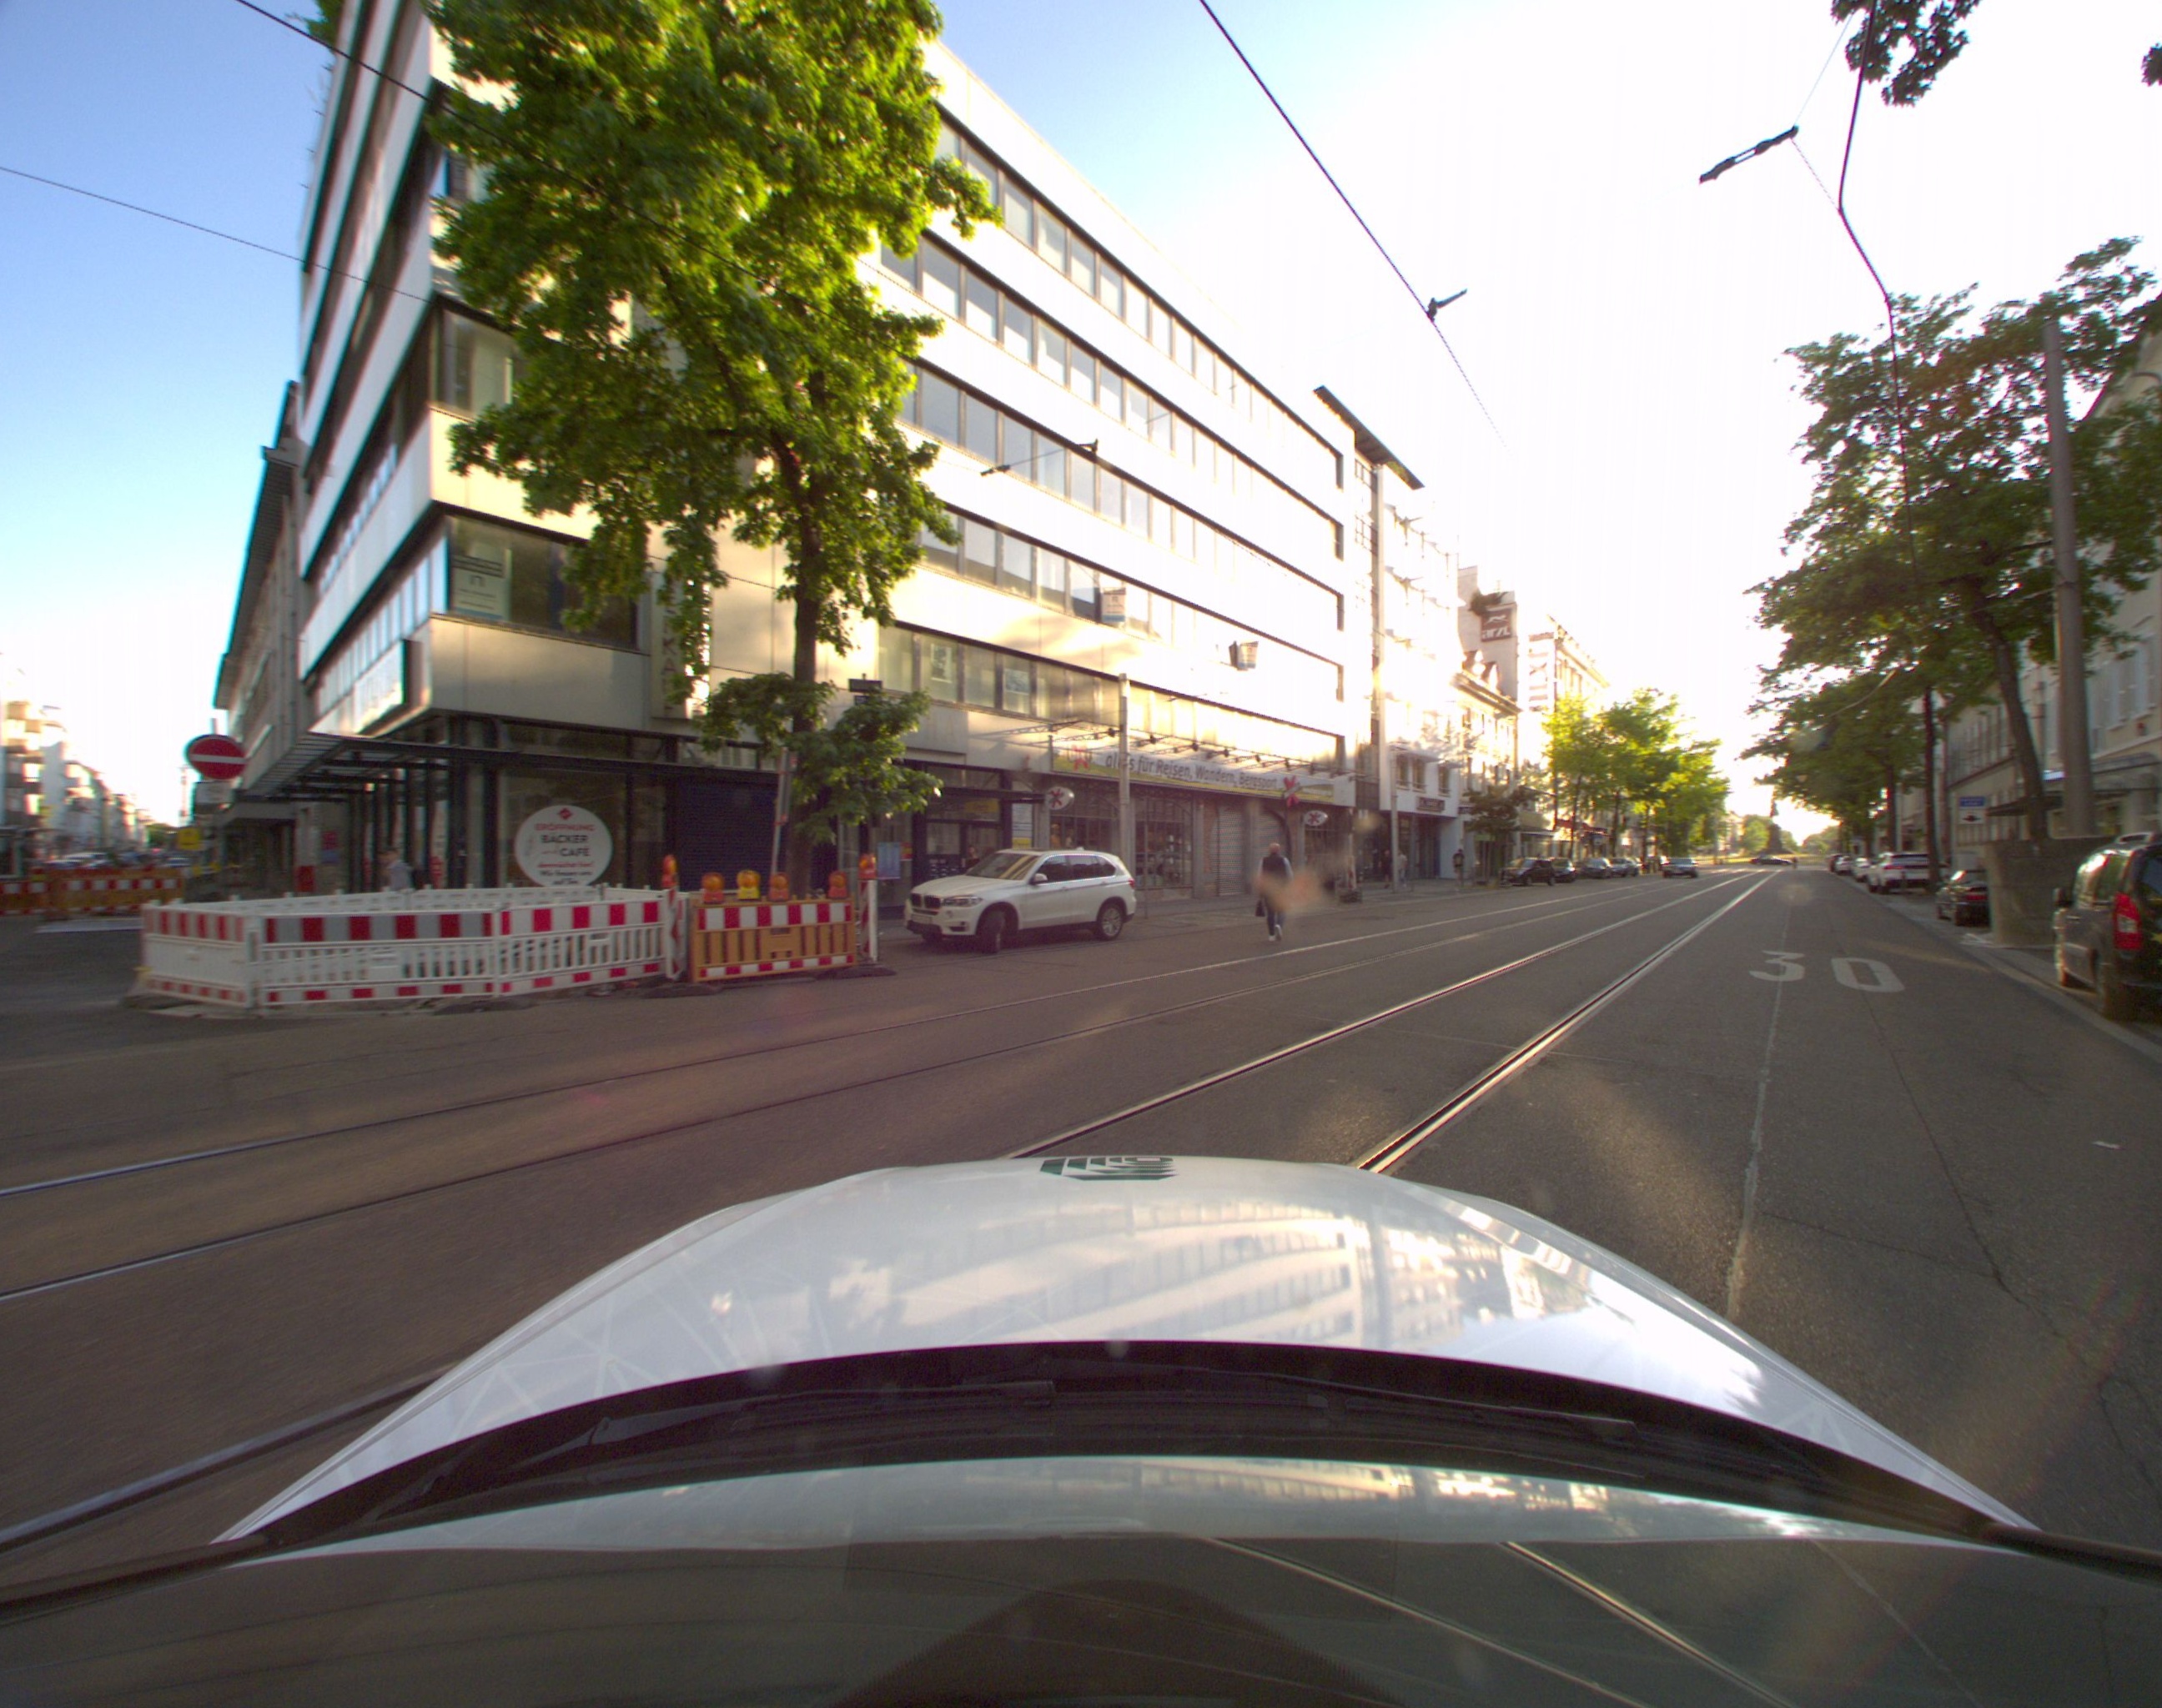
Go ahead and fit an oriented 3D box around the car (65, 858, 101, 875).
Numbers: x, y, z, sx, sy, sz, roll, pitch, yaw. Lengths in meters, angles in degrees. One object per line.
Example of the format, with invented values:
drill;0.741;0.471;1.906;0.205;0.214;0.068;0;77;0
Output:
car;-87.832;1.075;71.682;3.949;1.458;1.914;-1;-1;41

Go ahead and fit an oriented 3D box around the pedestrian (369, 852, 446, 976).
pedestrian;-9.341;0.799;11.304;0.604;1.646;0.731;-1;-1;41

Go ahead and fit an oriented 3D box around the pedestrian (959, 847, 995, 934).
pedestrian;-2.460;0.838;19.250;0.608;2.014;0.596;-1;-1;41

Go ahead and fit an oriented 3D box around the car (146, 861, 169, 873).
car;-122.914;1.707;108.355;3.949;1.458;1.914;-1;-1;41

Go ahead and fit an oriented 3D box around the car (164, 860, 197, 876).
car;-83.344;1.304;75.376;3.949;1.458;1.914;-1;-1;41

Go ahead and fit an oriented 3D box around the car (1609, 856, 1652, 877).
car;40.781;0.924;60.392;4.198;1.497;1.751;1;-1;-43

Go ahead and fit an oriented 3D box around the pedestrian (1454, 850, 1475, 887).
pedestrian;19.006;0.711;40.327;0.653;1.825;0.884;3;1;42

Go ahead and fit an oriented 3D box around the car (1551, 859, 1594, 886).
car;29.332;1.055;48.541;1.774;1.490;4.269;2;0;36

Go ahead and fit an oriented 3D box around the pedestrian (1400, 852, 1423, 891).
pedestrian;14.715;0.771;36.221;0.834;1.713;0.636;1;0;-44

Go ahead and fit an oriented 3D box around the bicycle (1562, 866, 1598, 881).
bicycle;32.189;1.252;52.542;0.332;1.001;1.953;1;-1;-45

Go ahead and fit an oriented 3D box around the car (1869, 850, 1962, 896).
car;33.434;0.770;32.778;1.978;1.688;4.998;-3;-3;39

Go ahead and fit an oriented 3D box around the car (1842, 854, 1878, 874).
car;62.959;0.829;65.873;1.974;1.499;4.707;-5;-4;43

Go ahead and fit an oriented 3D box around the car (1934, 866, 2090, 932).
car;20.754;0.947;18.349;1.777;1.311;4.355;-3;-3;42

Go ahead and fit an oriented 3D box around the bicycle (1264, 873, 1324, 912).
bicycle;6.371;1.134;24.437;0.481;0.992;1.730;0;3;-40

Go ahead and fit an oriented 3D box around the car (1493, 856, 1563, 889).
car;23.444;0.923;42.697;3.722;1.616;1.619;0;1;-33

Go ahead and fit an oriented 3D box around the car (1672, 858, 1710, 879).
car;41.209;0.957;54.961;1.762;1.407;4.556;-1;-1;40

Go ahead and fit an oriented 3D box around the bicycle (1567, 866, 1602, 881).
bicycle;33.504;1.294;54.175;1.952;1.001;0.332;-1;-1;45

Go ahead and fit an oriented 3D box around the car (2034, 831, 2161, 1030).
car;11.698;0.679;8.458;4.340;1.793;1.934;1;-3;-45

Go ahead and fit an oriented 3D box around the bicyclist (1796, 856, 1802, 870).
bicyclist;76.995;0.962;87.327;0.424;1.481;0.469;-1;-1;43

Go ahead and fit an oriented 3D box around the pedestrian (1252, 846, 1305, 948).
pedestrian;3.539;0.755;14.648;0.846;1.766;0.834;0;-1;8

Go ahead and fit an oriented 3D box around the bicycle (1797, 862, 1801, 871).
bicycle;76.955;1.305;87.266;0.261;0.983;1.346;-1;-1;42

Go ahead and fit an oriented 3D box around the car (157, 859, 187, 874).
car;-90.328;1.267;80.941;3.949;1.458;1.914;-1;-1;41

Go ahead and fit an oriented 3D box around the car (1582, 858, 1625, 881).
car;35.898;1.045;55.925;1.695;1.461;4.513;2;1;42

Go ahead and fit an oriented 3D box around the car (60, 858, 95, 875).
car;-92.930;1.143;75.430;3.949;1.458;1.914;-1;-1;41

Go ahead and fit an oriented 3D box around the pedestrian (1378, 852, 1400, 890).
pedestrian;13.800;0.754;36.534;0.812;1.713;0.621;1;0;-44

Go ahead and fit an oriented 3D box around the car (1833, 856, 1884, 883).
car;43.869;0.852;46.032;1.894;1.421;4.917;-4;-3;42

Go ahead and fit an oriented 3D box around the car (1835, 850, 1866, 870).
car;74.878;0.604;79.288;1.919;1.759;4.708;-5;-4;42

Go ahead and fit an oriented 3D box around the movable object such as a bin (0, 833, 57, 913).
movable object such as a bin;-36.525;0.639;27.473;5.256;2.535;2.208;-1;-1;41

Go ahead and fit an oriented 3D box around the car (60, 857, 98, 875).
car;-83.418;1.012;67.831;3.949;1.458;1.914;-1;-1;41

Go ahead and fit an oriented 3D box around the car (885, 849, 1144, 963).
car;-1.068;0.817;15.263;1.975;1.754;4.773;2;1;42

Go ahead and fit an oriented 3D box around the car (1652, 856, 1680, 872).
car;60.343;1.038;83.934;1.819;1.580;4.141;-1;-1;43

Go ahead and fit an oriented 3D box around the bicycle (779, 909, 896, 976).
bicycle;-3.521;1.259;11.861;1.542;0.837;0.497;1;1;-42

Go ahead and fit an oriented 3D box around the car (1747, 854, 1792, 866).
car;96.101;0.867;113.755;4.631;1.684;2.012;-1;-1;45

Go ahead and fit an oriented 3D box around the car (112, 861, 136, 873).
car;-120.098;1.640;102.252;3.949;1.458;1.914;-1;-1;41

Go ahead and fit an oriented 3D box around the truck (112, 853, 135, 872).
truck;-127.814;1.129;108.724;5.250;2.389;1.914;-1;-1;41
